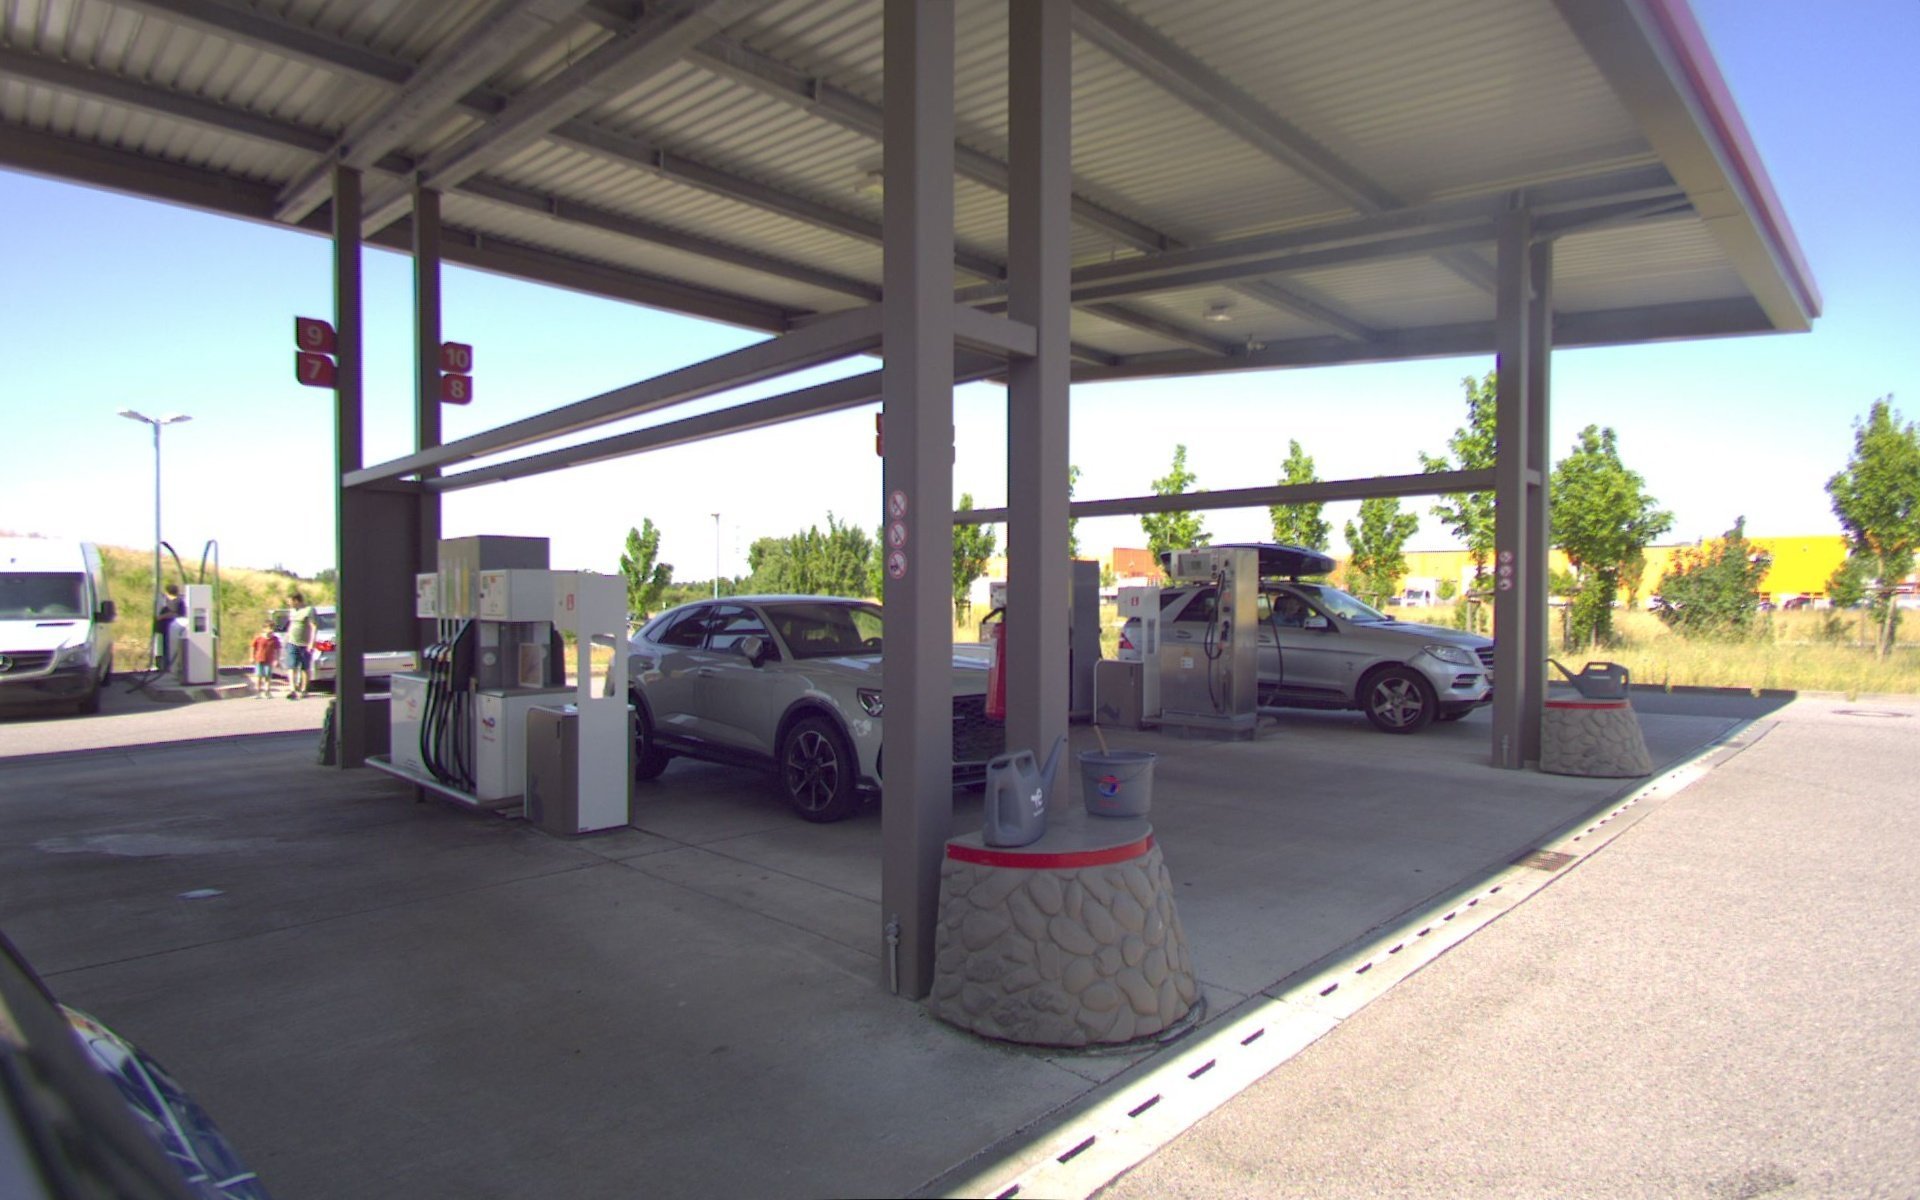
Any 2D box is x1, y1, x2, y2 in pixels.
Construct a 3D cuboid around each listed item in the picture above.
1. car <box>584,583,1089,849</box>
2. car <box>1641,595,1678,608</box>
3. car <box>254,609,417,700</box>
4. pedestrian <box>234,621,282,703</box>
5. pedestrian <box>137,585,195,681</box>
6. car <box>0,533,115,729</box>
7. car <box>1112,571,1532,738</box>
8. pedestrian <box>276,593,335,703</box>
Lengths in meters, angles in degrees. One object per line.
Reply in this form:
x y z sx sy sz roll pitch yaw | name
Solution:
-1.225 0.706 8.102 1.759 1.553 4.329 0 -1 -44 | car
72.922 0.214 105.521 1.463 1.309 2.949 0 -1 -43 | car
-11.815 0.924 19.019 1.766 1.439 4.326 0 0 -43 | car
-11.555 1.003 16.655 0.569 1.316 0.670 0 -1 -42 | pedestrian
-15.168 0.615 19.334 0.832 1.783 0.710 0 -1 -41 | pedestrian
-14.929 0.328 16.146 1.968 2.590 7.046 0 1 -38 | car
4.304 0.590 12.524 4.534 1.700 1.840 -1 -1 42 | car
-10.896 0.781 16.836 0.698 1.762 0.846 0 -1 -42 | pedestrian
